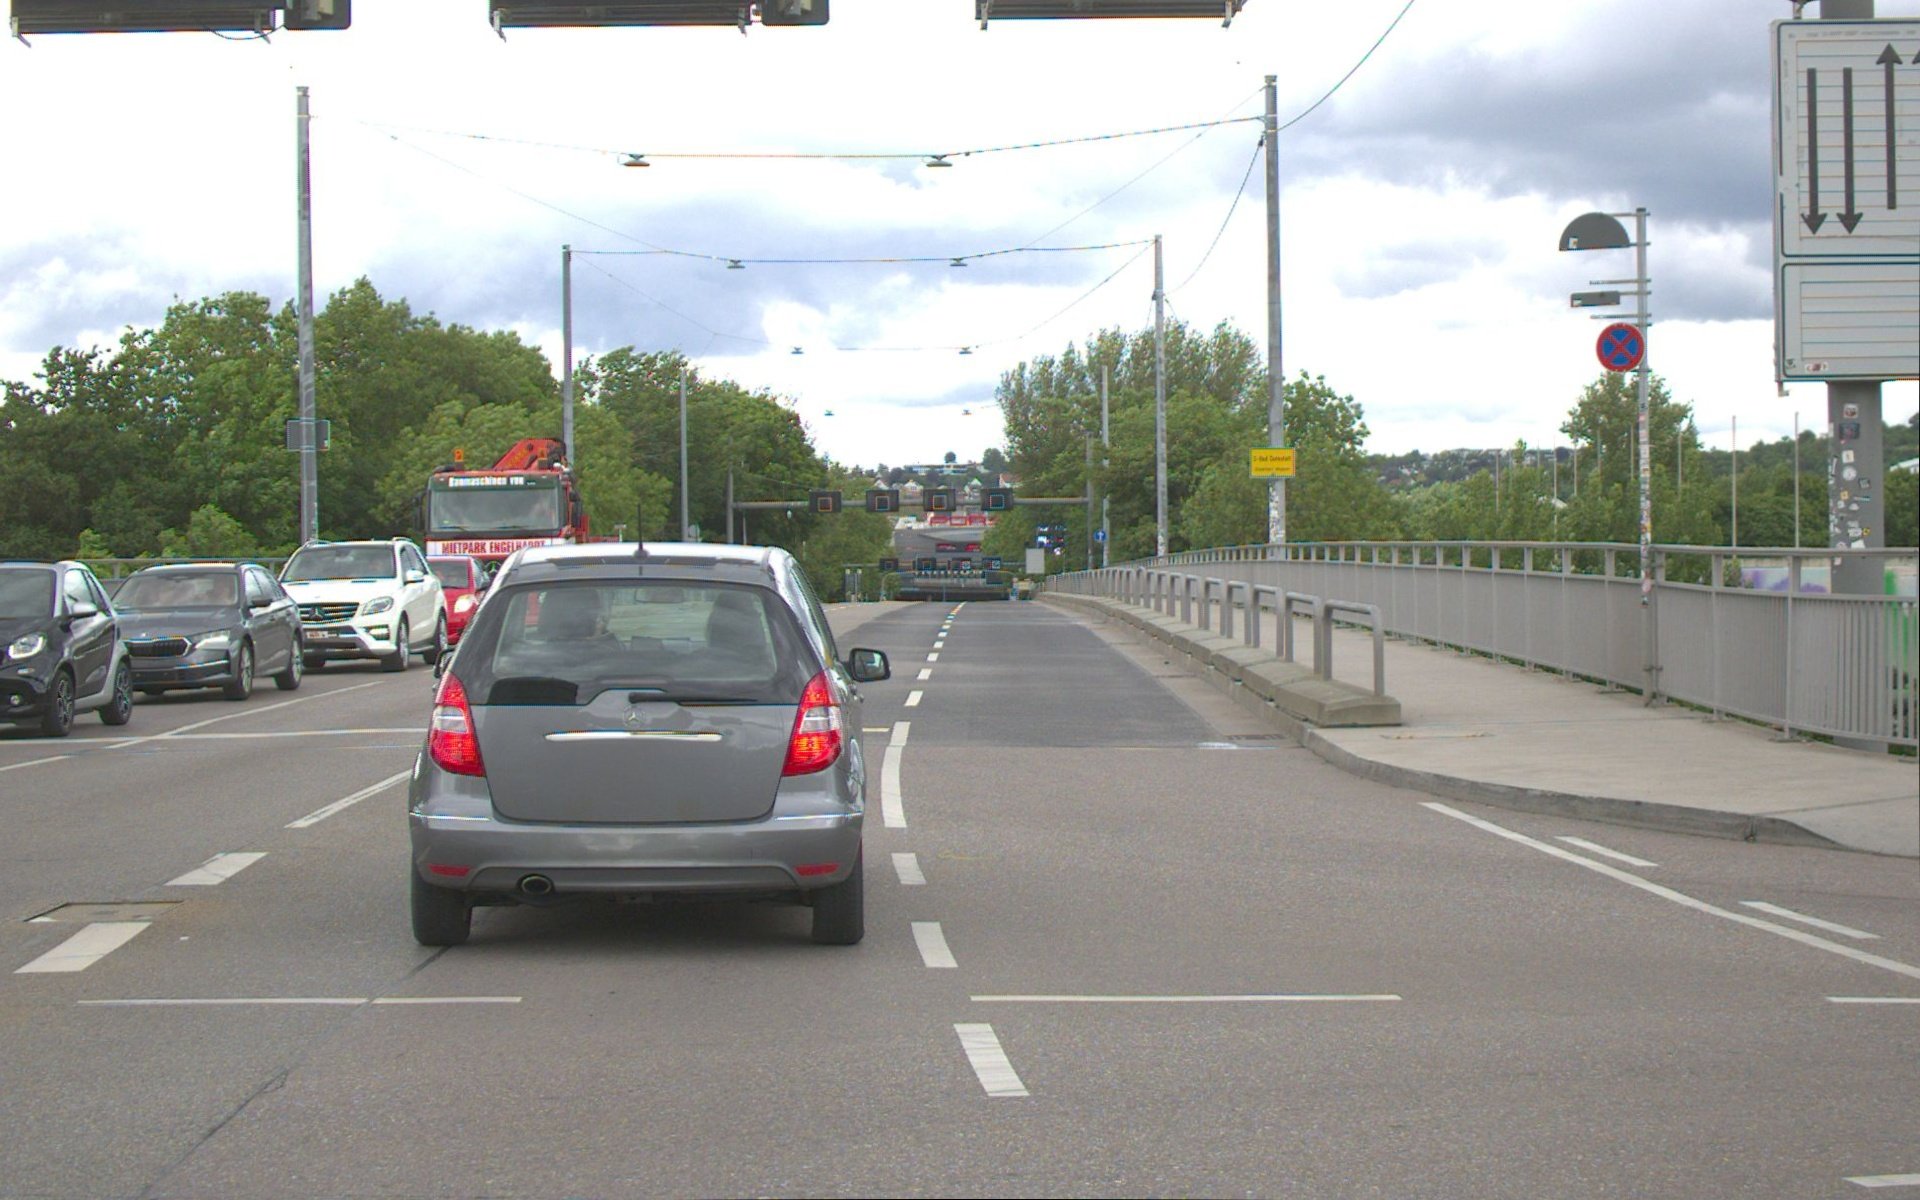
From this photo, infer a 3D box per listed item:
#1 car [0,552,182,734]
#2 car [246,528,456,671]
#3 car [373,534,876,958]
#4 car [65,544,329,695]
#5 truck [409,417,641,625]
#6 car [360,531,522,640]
[{"bbox_3d":[-8.475,0.355,31.072,1.835,1.499,3.871,-2,1,2],"label":"car"},{"bbox_3d":[-7.995,-0.054,45.567,1.880,1.755,4.803,-2,1,0],"label":"car"},{"bbox_3d":[-1.279,0.500,14.544,1.745,1.545,3.871,0,1,0],"label":"car"},{"bbox_3d":[-8.264,0.164,37.619,1.835,1.499,4.517,-2,1,0],"label":"car"},{"bbox_3d":[-8.055,-1.473,64.946,3.006,3.553,9.983,-2,1,0],"label":"truck"},{"bbox_3d":[-8.098,-0.258,53.948,1.880,1.597,4.015,-2,1,0],"label":"car"}]
